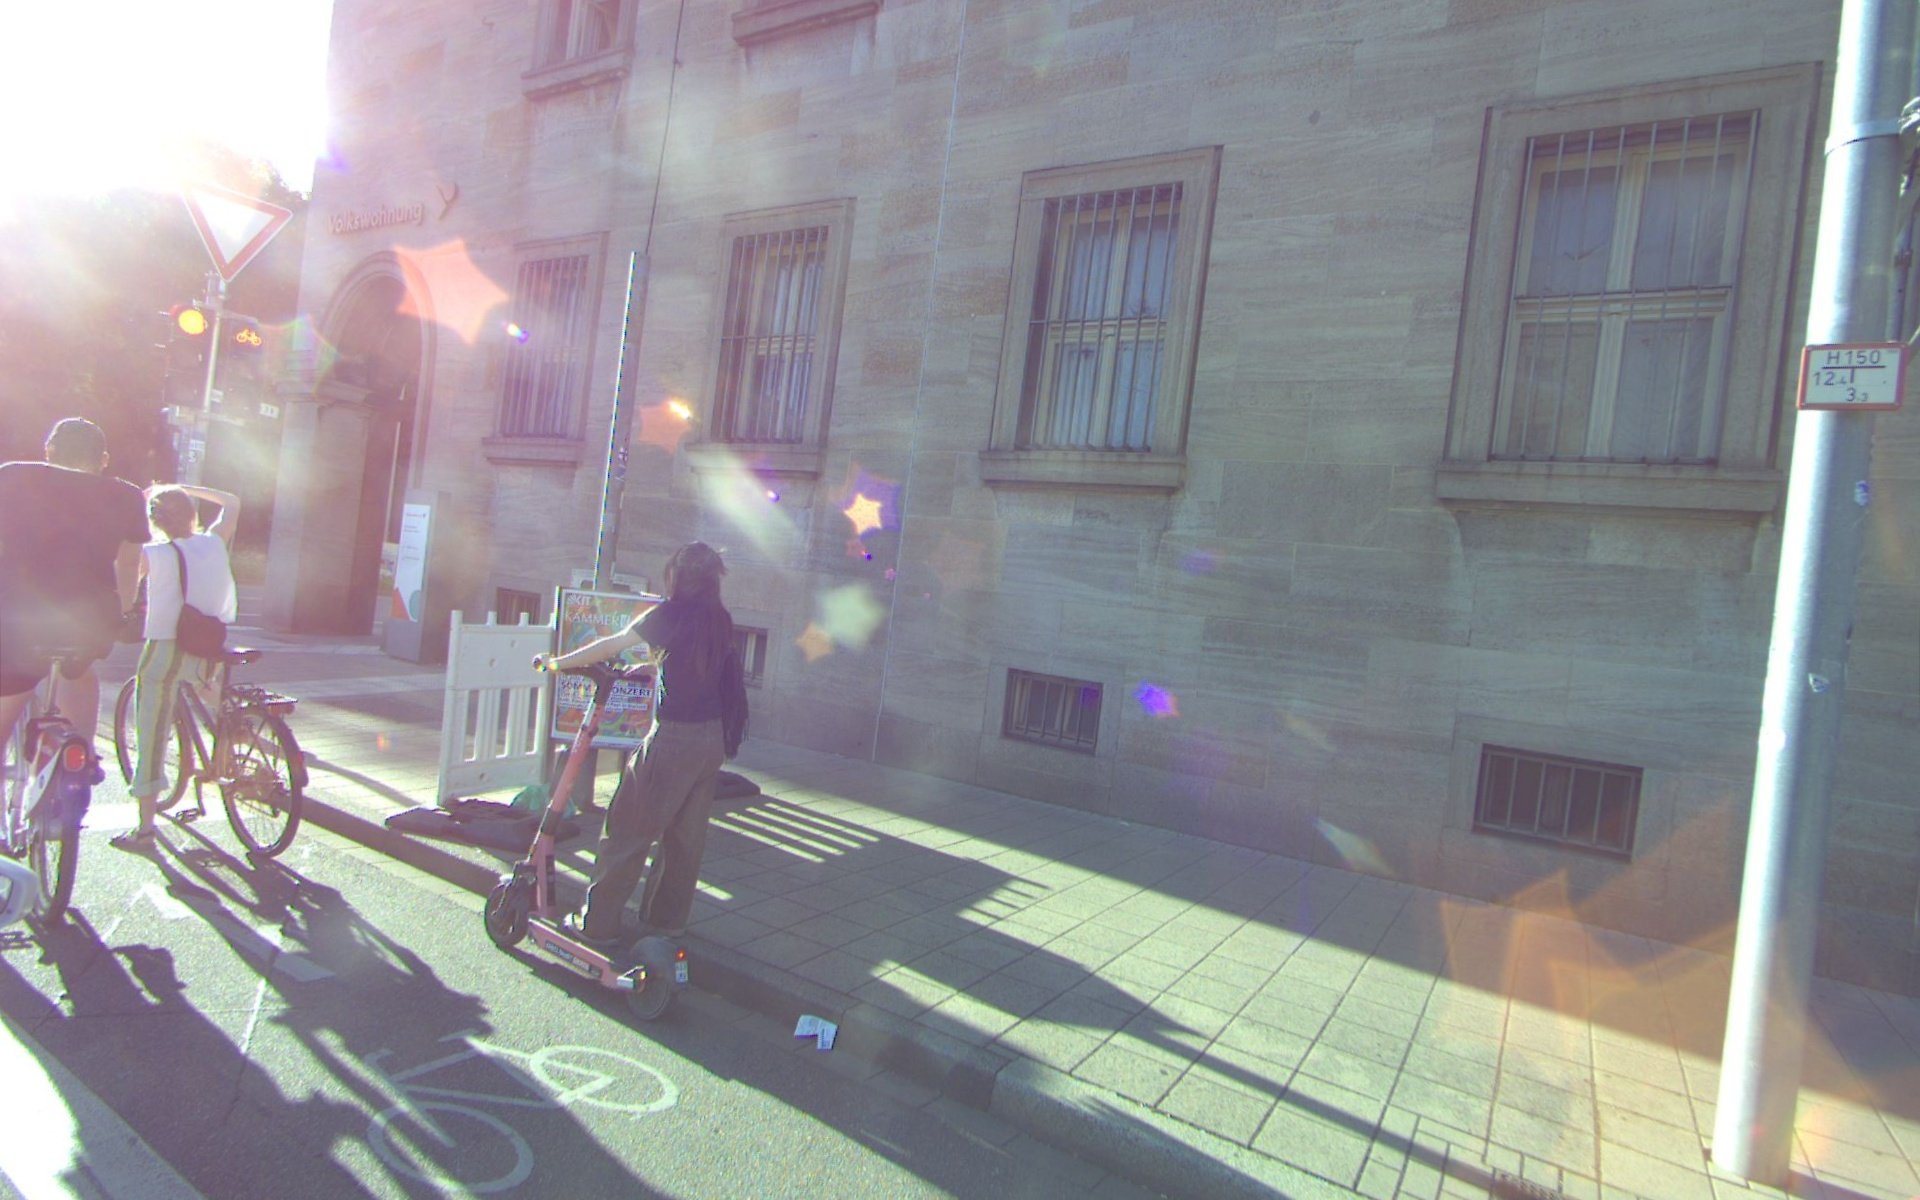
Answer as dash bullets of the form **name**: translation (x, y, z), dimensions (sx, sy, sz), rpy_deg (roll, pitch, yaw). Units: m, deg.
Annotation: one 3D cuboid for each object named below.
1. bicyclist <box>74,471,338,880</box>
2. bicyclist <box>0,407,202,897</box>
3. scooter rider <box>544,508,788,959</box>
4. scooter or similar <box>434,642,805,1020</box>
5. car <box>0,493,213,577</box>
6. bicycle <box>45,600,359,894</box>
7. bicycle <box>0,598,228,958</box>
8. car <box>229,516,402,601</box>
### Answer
- **bicyclist**: translation (-3.645, 0.319, 4.860), dimensions (0.934, 1.760, 0.584), rpy_deg (7, 0, 32)
- **bicyclist**: translation (-3.661, 0.173, 3.978), dimensions (0.897, 1.736, 0.624), rpy_deg (7, 0, 31)
- **scooter rider**: translation (-1.130, 0.491, 3.956), dimensions (0.566, 1.581, 0.547), rpy_deg (7, 0, 10)
- **scooter or similar**: translation (-1.354, 0.825, 3.983), dimensions (1.250, 1.163, 0.574), rpy_deg (6, -1, 28)
- **car**: translation (-23.481, -1.746, 27.344), dimensions (1.967, 1.533, 4.586), rpy_deg (6, -2, 32)
- **bicycle**: translation (-3.713, 0.632, 4.881), dimensions (1.718, 1.057, 0.582), rpy_deg (7, 0, 33)
- **bicycle**: translation (-3.724, 0.594, 3.984), dimensions (1.717, 1.057, 0.624), rpy_deg (7, 0, 31)
- **car**: translation (-20.281, -1.256, 31.799), dimensions (1.968, 2.037, 3.994), rpy_deg (6, -2, 33)
